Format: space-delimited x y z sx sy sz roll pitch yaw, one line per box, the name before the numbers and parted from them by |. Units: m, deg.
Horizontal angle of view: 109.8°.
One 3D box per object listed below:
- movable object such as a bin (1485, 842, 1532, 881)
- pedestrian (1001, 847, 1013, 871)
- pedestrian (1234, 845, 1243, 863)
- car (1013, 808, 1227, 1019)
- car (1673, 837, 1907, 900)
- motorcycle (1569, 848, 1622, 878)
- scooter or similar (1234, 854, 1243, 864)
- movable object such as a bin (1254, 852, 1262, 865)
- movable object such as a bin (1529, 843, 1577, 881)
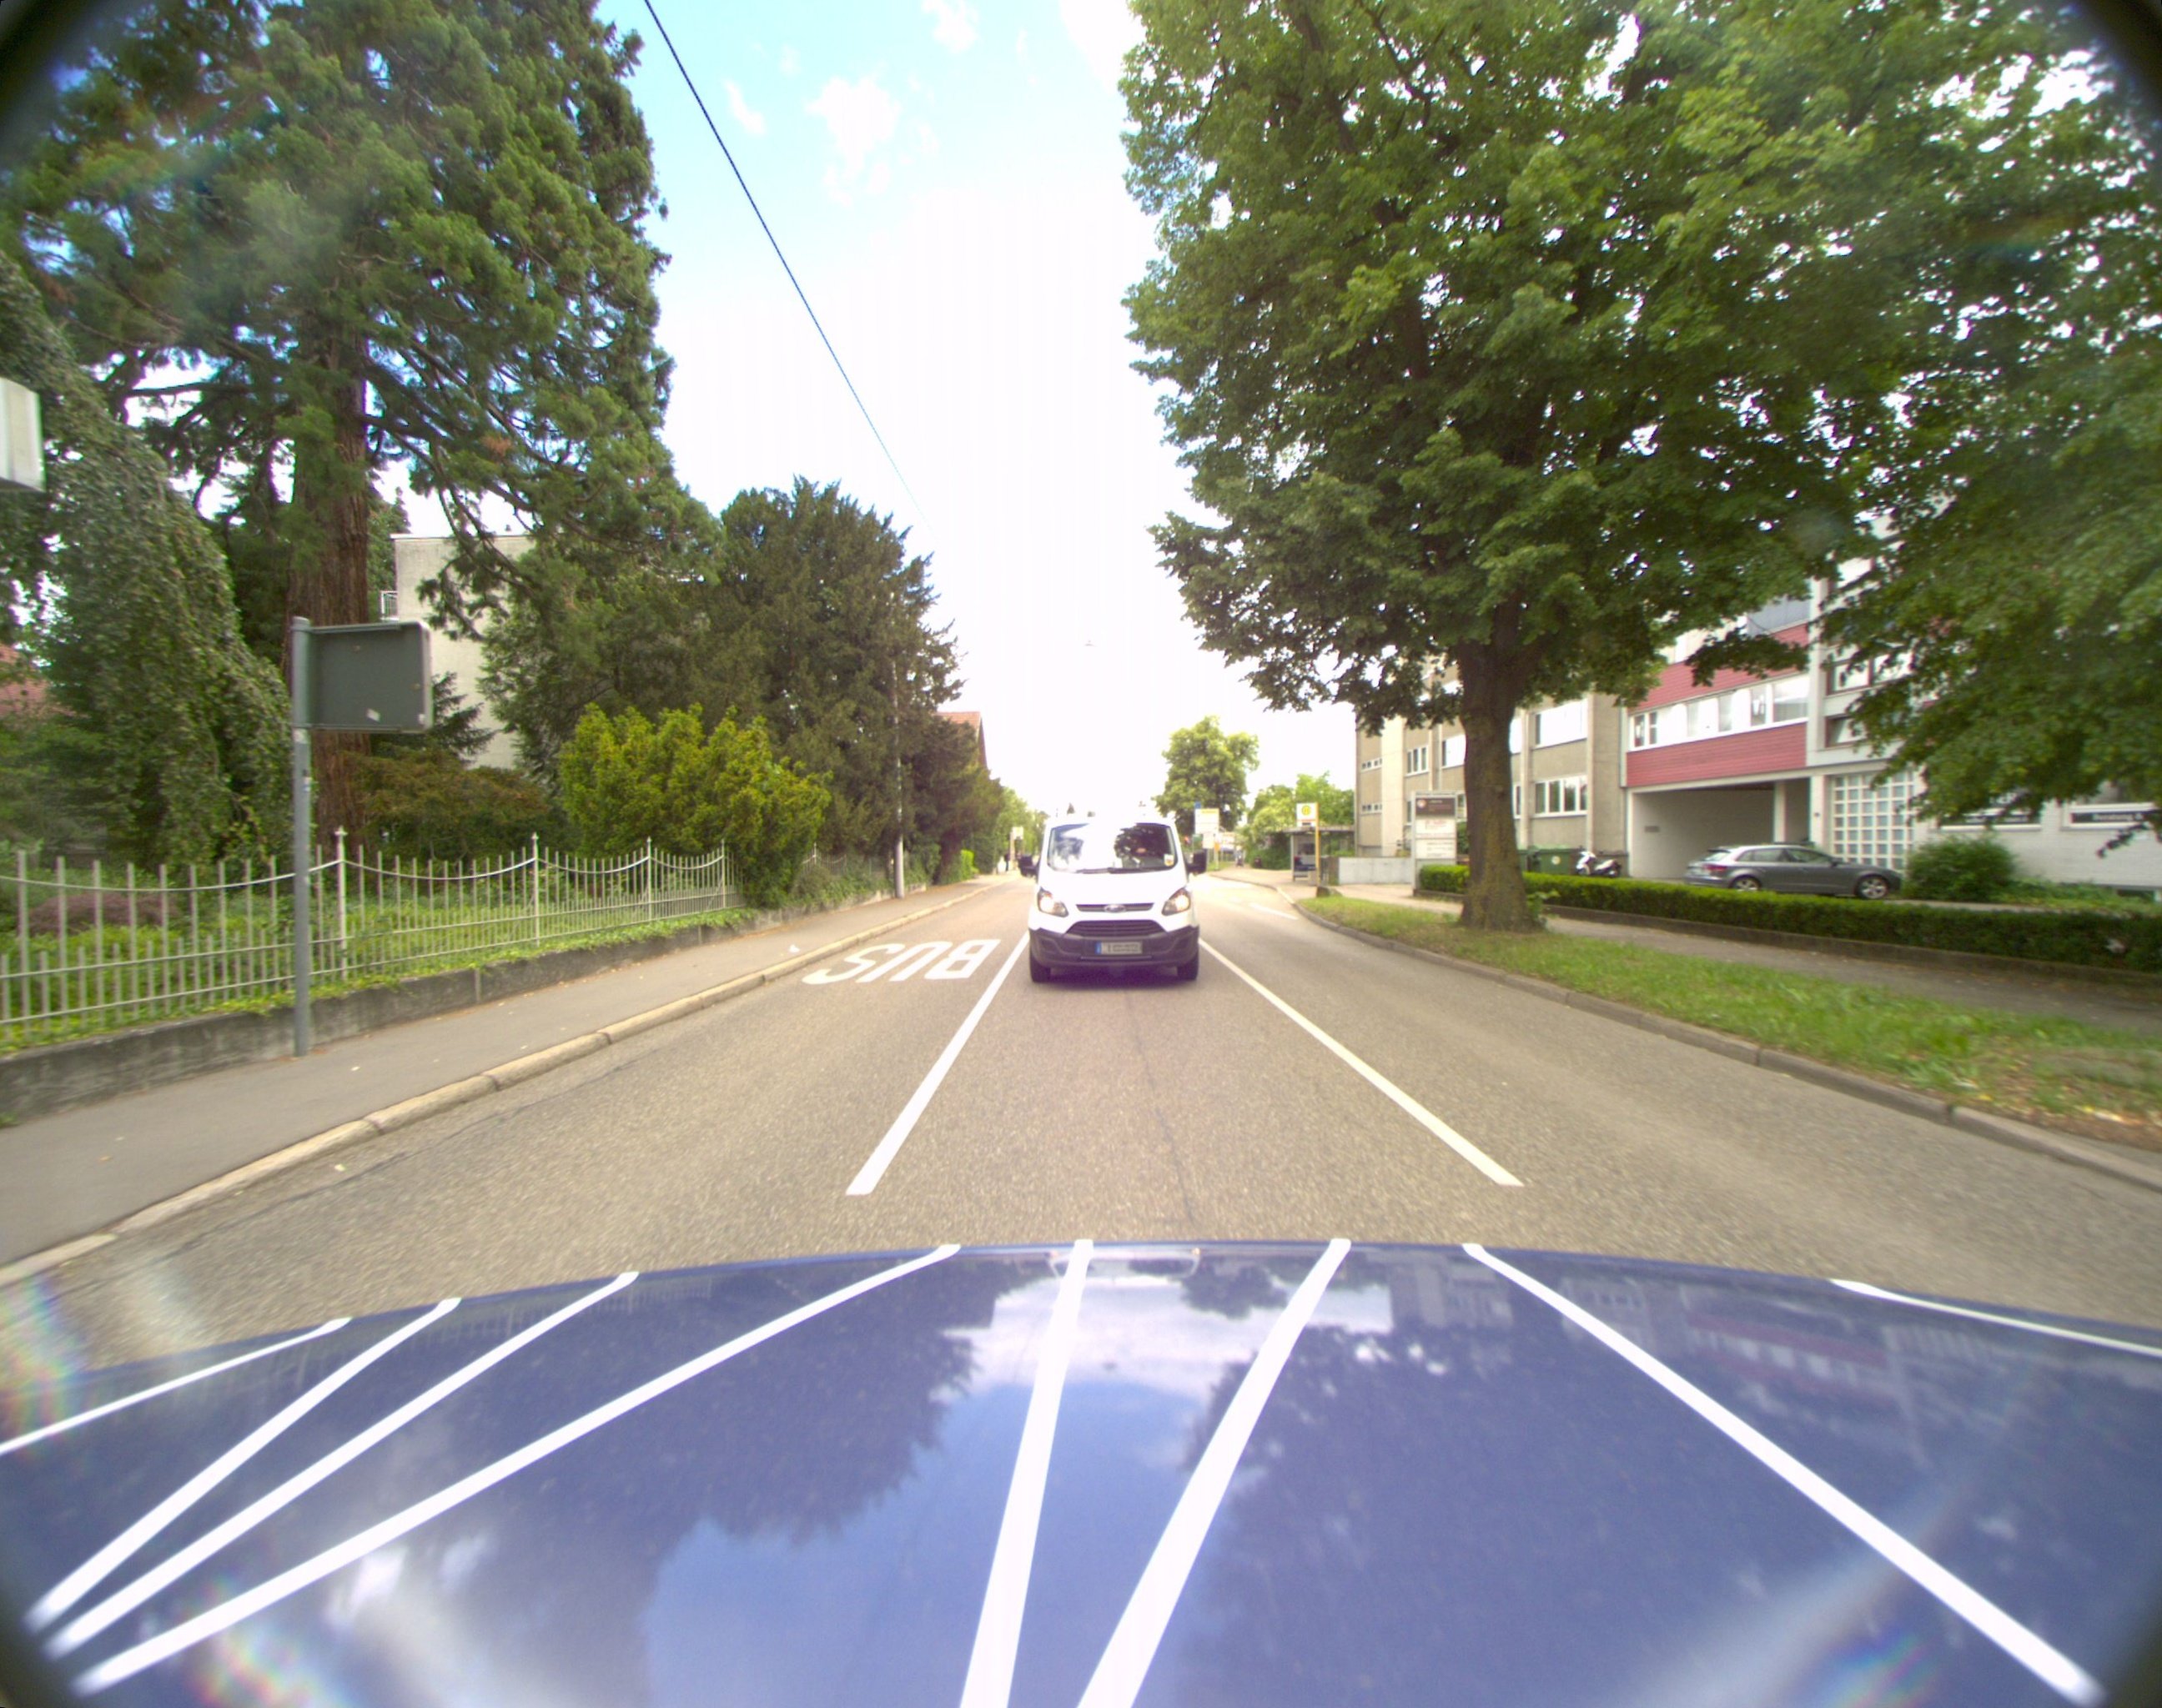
movable object such as a bin | 17.013 0.286 30.242 1.301 1.457 0.992 -2 2 1
pedestrian | -5.514 0.347 56.553 0.488 1.757 0.672 -1 2 32
pedestrian | 13.209 -0.002 63.661 0.672 1.549 0.520 -1 2 18
car | 0.347 0.521 10.153 1.999 1.961 5.713 -2 1 -1
car | 18.397 0.373 19.946 4.143 1.471 1.814 -2 1 15
motorcycle | 20.439 0.357 30.218 1.645 1.133 0.639 -2 2 1
scooter or similar | 13.013 0.408 62.648 0.607 0.782 0.860 -1 1 17
movable object such as a bin | 13.711 0.352 58.731 0.566 0.922 0.608 -1 2 16
movable object such as a bin | 18.719 0.312 30.166 1.365 1.457 0.884 -2 2 1
